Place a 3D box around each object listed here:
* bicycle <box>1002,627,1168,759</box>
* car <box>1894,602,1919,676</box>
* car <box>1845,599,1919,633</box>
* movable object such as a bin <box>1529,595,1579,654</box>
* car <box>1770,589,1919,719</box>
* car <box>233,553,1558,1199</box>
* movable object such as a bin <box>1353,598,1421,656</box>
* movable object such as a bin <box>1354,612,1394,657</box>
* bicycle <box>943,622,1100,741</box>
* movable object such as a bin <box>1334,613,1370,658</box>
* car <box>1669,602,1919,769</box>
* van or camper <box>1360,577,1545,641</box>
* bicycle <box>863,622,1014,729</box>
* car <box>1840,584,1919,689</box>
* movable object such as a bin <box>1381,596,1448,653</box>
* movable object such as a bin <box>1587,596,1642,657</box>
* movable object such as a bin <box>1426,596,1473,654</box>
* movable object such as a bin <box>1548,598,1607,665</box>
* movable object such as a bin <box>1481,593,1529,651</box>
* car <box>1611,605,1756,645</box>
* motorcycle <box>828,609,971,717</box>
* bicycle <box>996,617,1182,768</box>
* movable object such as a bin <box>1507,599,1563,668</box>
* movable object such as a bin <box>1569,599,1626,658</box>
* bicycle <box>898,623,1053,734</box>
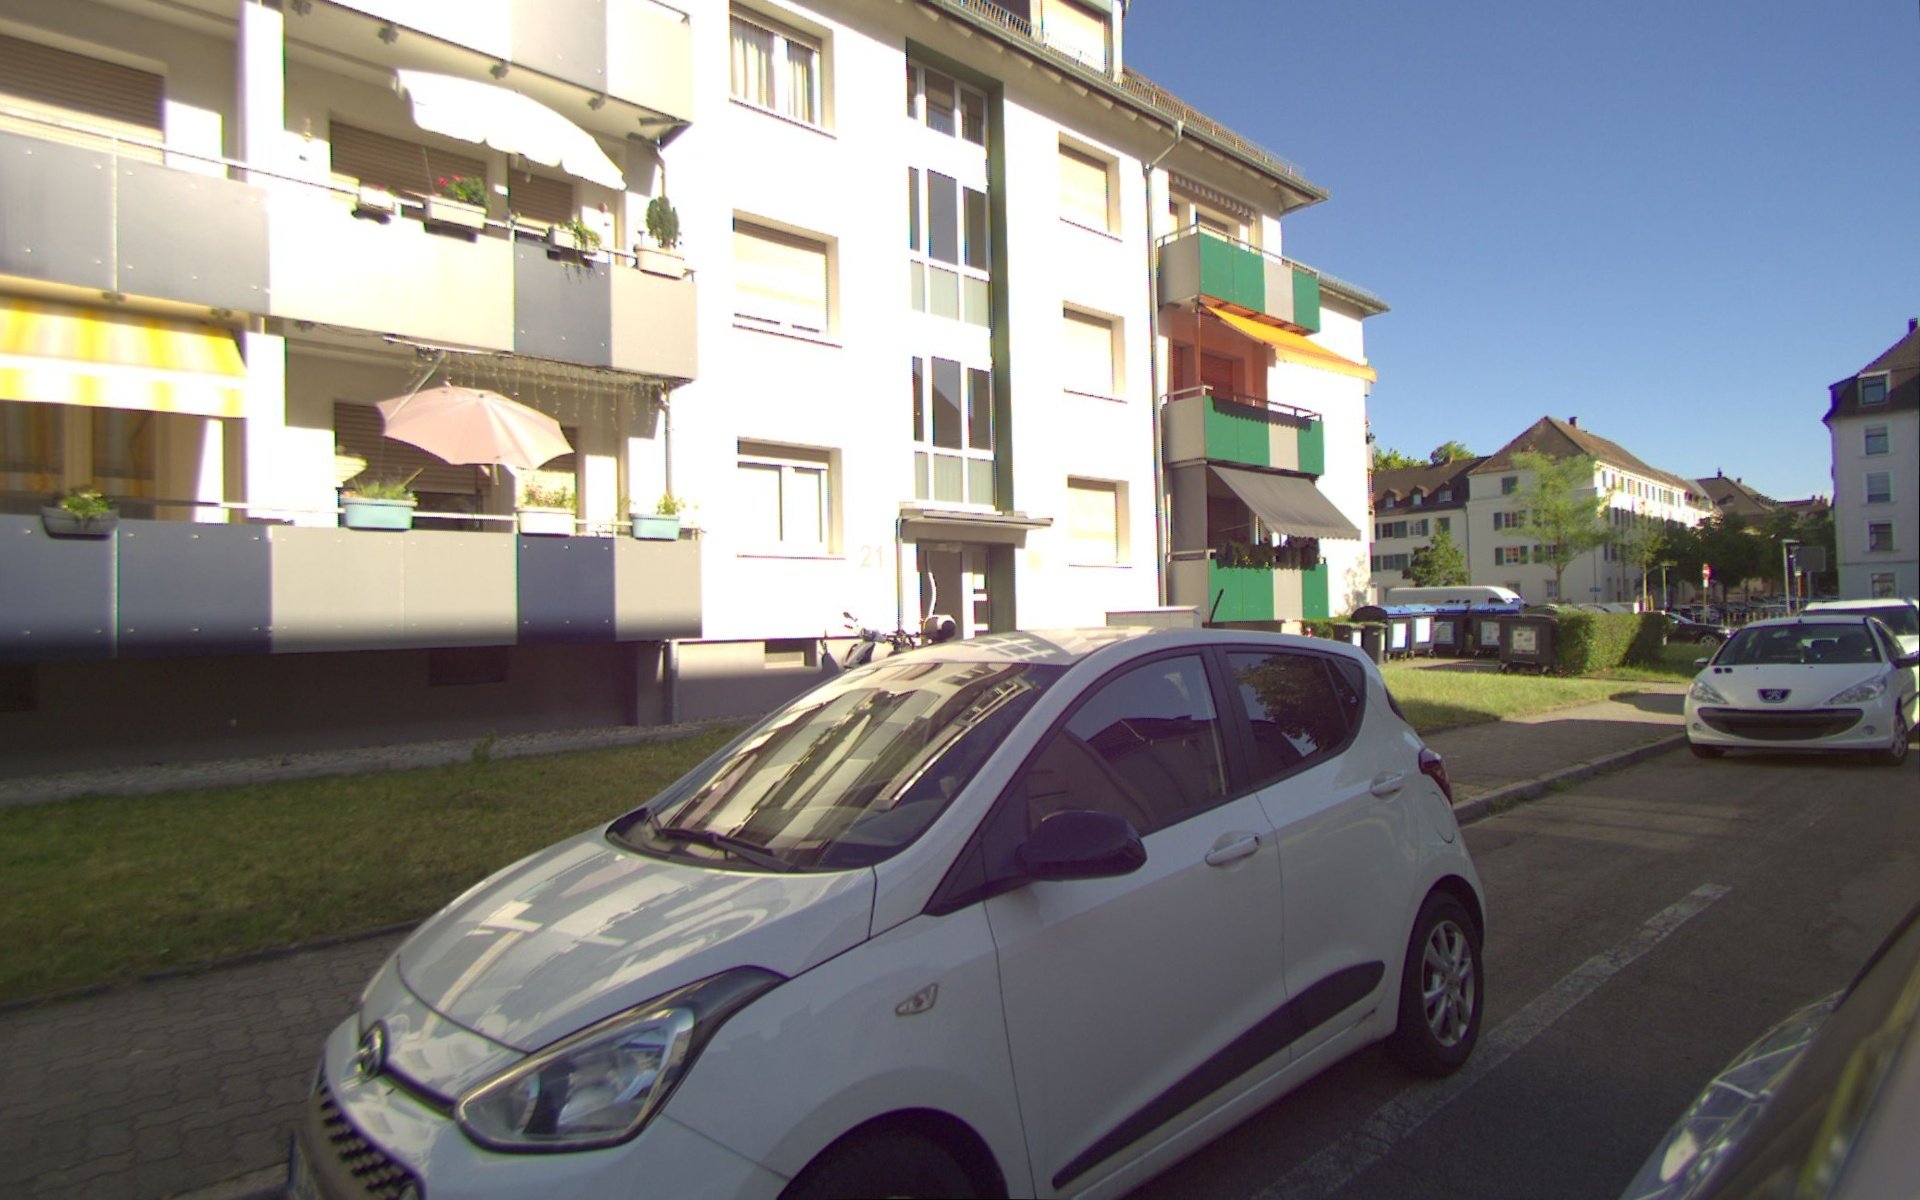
[{"bbox_3d":[1.276,0.869,10.063,1.840,1.147,0.578,0,0,-42],"label":"bicycle"},{"bbox_3d":[22.382,0.800,22.696,3.885,1.557,1.725,0,-4,-43],"label":"car"},{"bbox_3d":[42.183,0.693,46.232,1.656,1.459,3.767,0,0,26],"label":"car"},{"bbox_3d":[14.984,0.599,25.527,0.907,1.466,0.864,0,-1,-45],"label":"movable object such as a bin"},{"bbox_3d":[13.188,0.680,14.415,4.503,1.613,1.802,0,-3,-42],"label":"car"},{"bbox_3d":[0.179,0.757,3.118,3.787,1.529,1.715,0,-4,-42],"label":"car"},{"bbox_3d":[11.064,0.678,26.225,1.257,1.466,1.237,0,-1,-43],"label":"movable object such as a bin"},{"bbox_3d":[10.358,0.864,25.315,0.570,1.066,0.717,0,2,-43],"label":"movable object such as a bin"},{"bbox_3d":[0.687,0.824,10.815,1.840,1.134,0.544,0,0,-42],"label":"bicycle"},{"bbox_3d":[9.689,0.868,25.021,0.570,1.066,0.627,0,2,-43],"label":"movable object such as a bin"},{"bbox_3d":[9.167,0.792,10.791,4.027,1.437,1.692,0,-3,-42],"label":"car"},{"bbox_3d":[21.201,0.372,43.926,2.137,2.532,6.979,0,0,-39],"label":"van or camper"},{"bbox_3d":[-0.221,0.844,11.940,1.840,1.130,0.597,0,-1,-42],"label":"bicycle"},{"bbox_3d":[18.227,0.625,19.058,4.180,1.824,1.852,0,-4,-42],"label":"car"},{"bbox_3d":[12.153,0.638,27.081,1.257,1.466,1.237,0,-1,-43],"label":"movable object such as a bin"},{"bbox_3d":[15.732,0.619,24.334,0.852,1.416,0.920,0,-1,-42],"label":"movable object such as a bin"},{"bbox_3d":[13.288,0.657,27.496,0.906,1.539,0.865,0,-1,-42],"label":"movable object such as a bin"},{"bbox_3d":[13.880,0.698,22.764,0.852,1.466,0.920,0,-1,-42],"label":"movable object such as a bin"},{"bbox_3d":[14.157,0.562,26.278,0.907,1.466,0.864,0,-1,-45],"label":"movable object such as a bin"},{"bbox_3d":[26.429,0.875,37.056,1.769,1.366,3.996,0,0,-39],"label":"car"},{"bbox_3d":[-0.732,0.755,12.822,1.942,1.254,0.442,0,0,-41],"label":"motorcycle"},{"bbox_3d":[1.184,0.766,9.034,1.839,1.185,0.545,0,1,-40],"label":"bicycle"},{"bbox_3d":[12.586,0.716,22.150,0.907,1.466,0.864,0,-1,-45],"label":"movable object such as a bin"},{"bbox_3d":[14.824,0.651,23.542,0.852,1.342,0.920,0,-1,-42],"label":"movable object such as a bin"},{"bbox_3d":[0.204,0.839,11.346,1.840,1.096,0.539,0,1,-42],"label":"bicycle"}]
